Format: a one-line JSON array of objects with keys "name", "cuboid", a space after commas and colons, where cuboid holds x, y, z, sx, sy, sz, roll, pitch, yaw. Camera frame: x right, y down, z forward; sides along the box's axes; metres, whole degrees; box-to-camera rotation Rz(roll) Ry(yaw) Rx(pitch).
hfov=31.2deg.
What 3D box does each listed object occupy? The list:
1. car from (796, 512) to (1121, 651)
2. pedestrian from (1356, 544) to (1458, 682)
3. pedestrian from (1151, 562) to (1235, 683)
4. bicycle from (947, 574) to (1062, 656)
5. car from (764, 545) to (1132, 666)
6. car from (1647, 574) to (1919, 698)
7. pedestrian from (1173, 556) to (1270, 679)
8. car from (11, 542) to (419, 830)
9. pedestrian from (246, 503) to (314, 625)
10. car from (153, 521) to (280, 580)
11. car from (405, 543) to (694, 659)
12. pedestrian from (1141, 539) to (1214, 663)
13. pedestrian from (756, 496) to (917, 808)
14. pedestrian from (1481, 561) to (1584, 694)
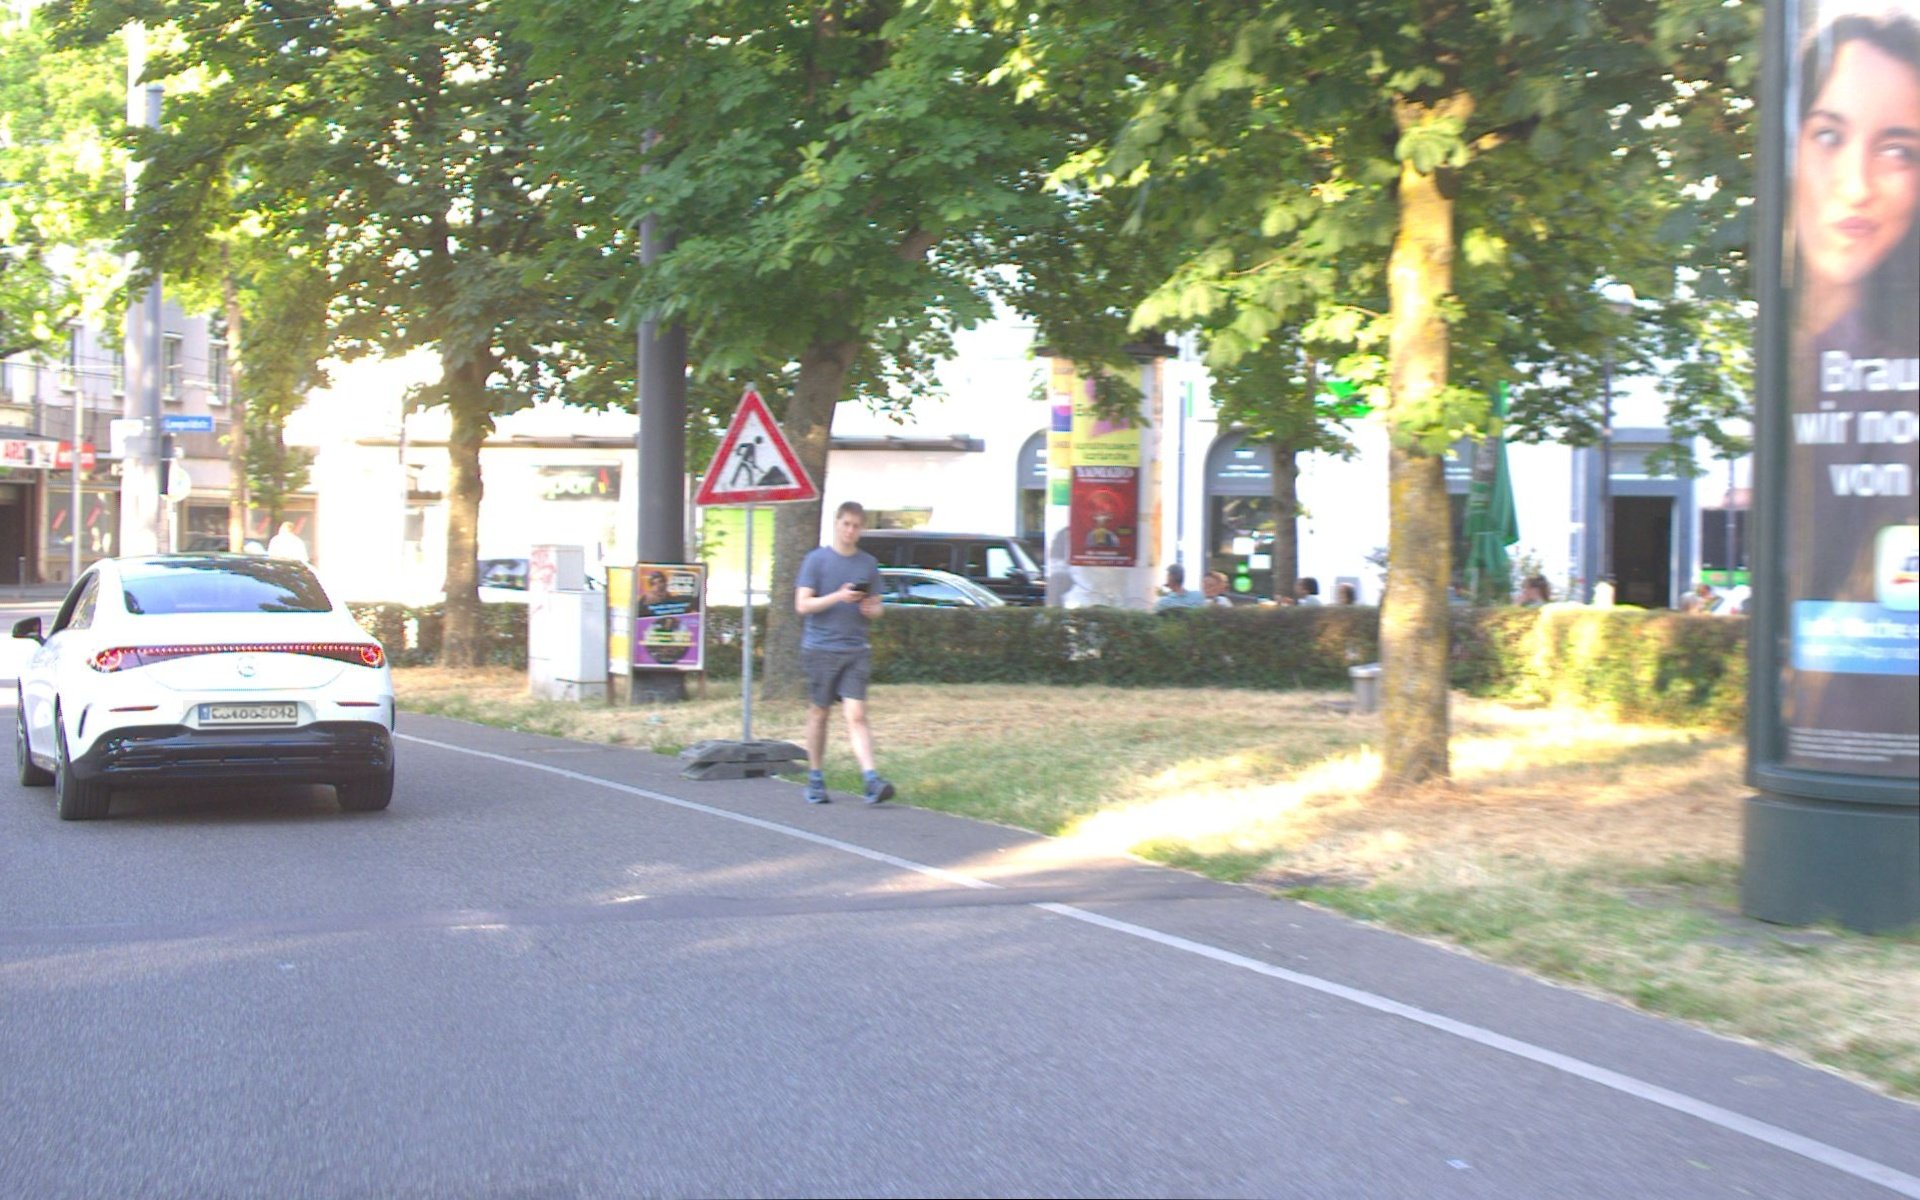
[{"name": "car", "cuboid": [0.001, -0.293, 51.276, 4.499, 1.957, 2.022, 1, 1, 12]}, {"name": "pedestrian", "cuboid": [4.466, 0.127, 34.308, 0.730, 1.351, 1.014, 0, 0, 26]}, {"name": "pedestrian", "cuboid": [2.474, 0.228, 36.406, 0.778, 1.238, 0.988, 2, 1, 9]}, {"name": "bicycle", "cuboid": [0.520, 0.169, 39.902, 0.555, 0.926, 1.526, 1, 1, 35]}, {"name": "car", "cuboid": [-0.140, 0.056, 46.067, 4.660, 1.508, 1.738, 1, 1, 12]}, {"name": "car", "cuboid": [12.064, 0.502, 48.778, 4.499, 1.611, 2.022, 2, 0, 12]}, {"name": "pedestrian", "cuboid": [2.917, 0.189, 38.362, 0.949, 1.279, 0.663, 5, 1, 4]}, {"name": "car", "cuboid": [-4.449, 0.414, 20.100, 1.867, 1.464, 4.044, 0, 1, -19]}, {"name": "pedestrian", "cuboid": [-11.305, -0.599, 57.171, 0.841, 2.007, 0.846, 1, 0, 7]}, {"name": "car", "cuboid": [-21.227, -1.409, 98.288, 1.963, 1.634, 3.998, 2, 1, 13]}, {"name": "car", "cuboid": [-5.630, -0.002, 47.321, 3.567, 1.508, 1.738, 1, 1, 12]}, {"name": "pedestrian", "cuboid": [2.220, 0.009, 35.031, 0.567, 1.240, 0.612, 1, 0, 22]}, {"name": "pedestrian", "cuboid": [-0.704, 0.289, 19.598, 0.641, 1.737, 0.588, 1, 1, -41]}, {"name": "pedestrian", "cuboid": [5.691, 0.277, 34.126, 0.662, 1.238, 0.950, 6, 1, 25]}]
